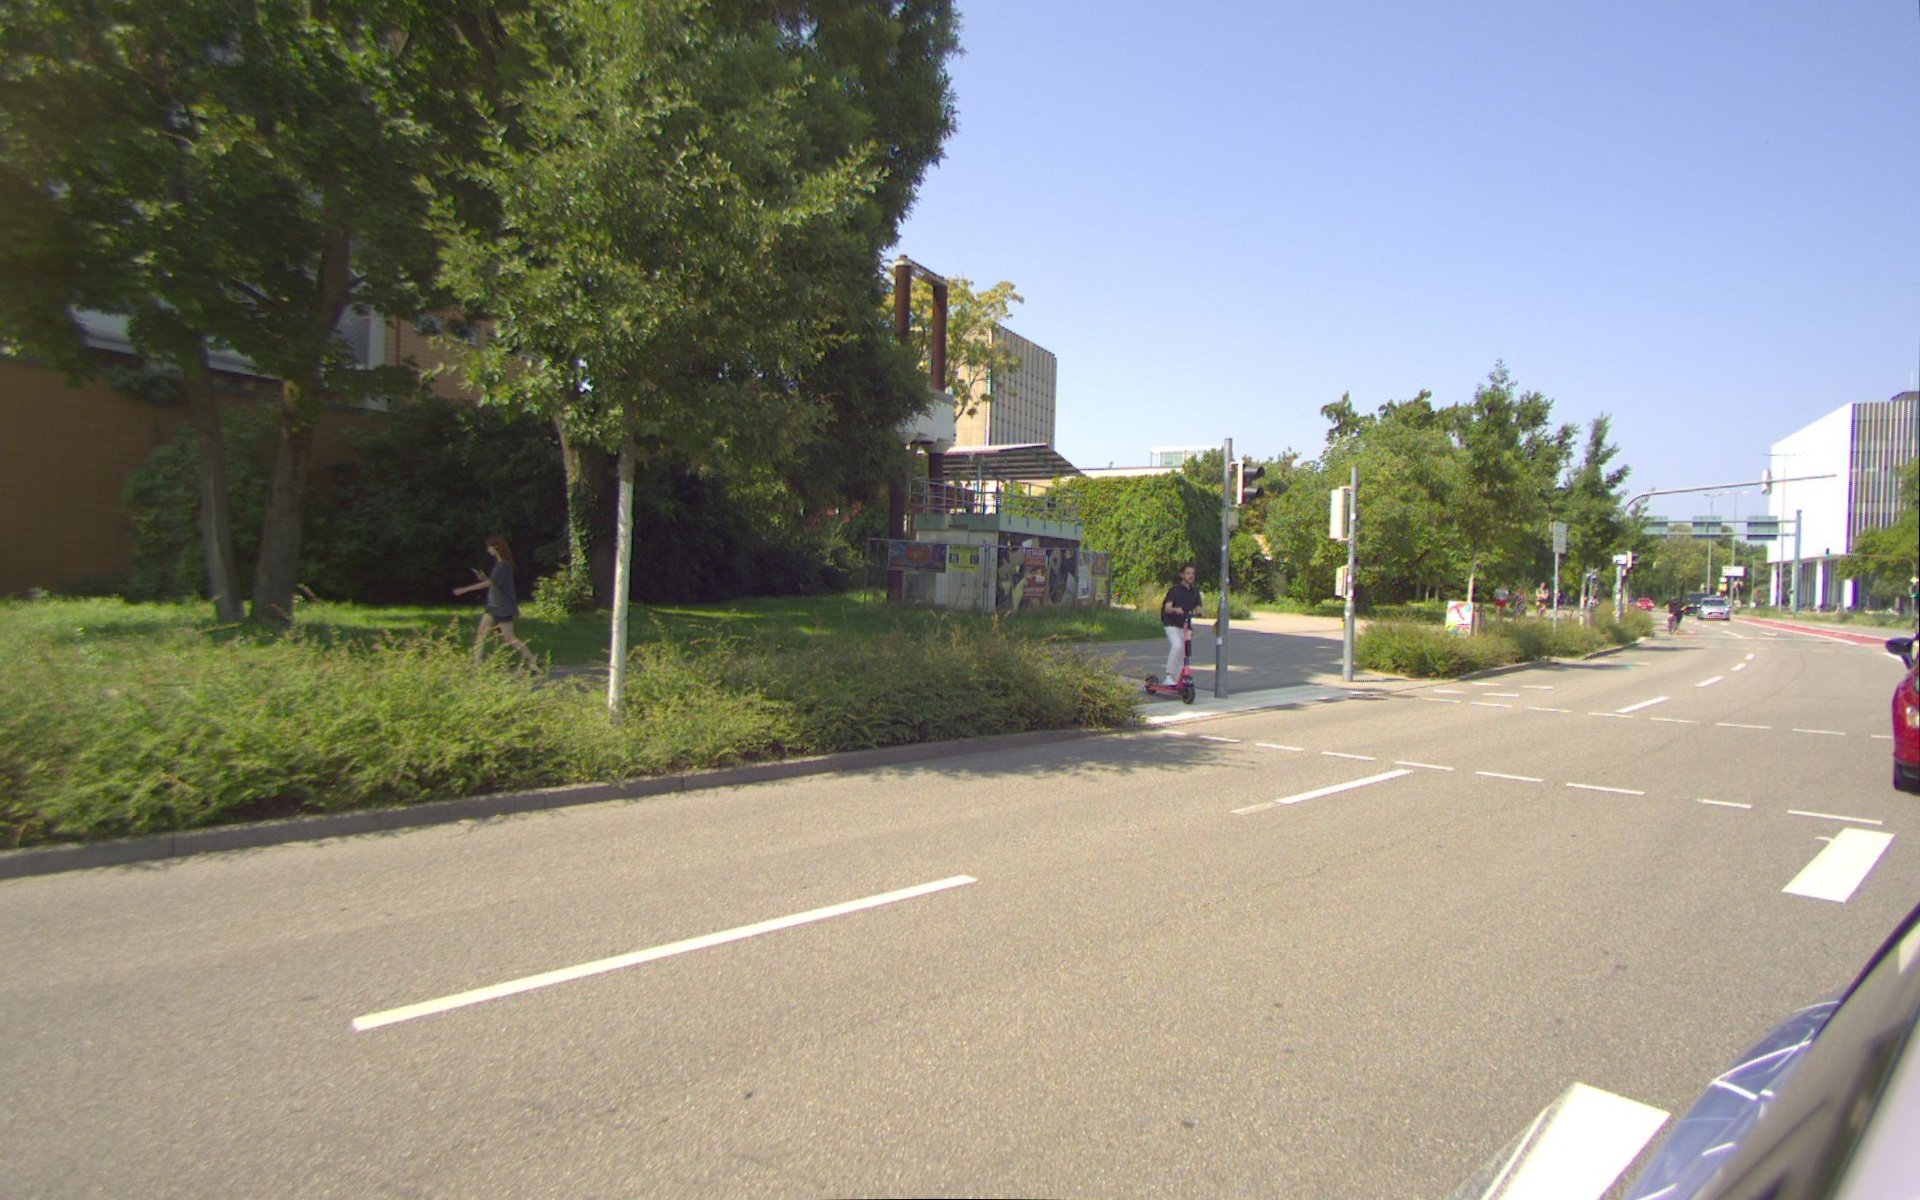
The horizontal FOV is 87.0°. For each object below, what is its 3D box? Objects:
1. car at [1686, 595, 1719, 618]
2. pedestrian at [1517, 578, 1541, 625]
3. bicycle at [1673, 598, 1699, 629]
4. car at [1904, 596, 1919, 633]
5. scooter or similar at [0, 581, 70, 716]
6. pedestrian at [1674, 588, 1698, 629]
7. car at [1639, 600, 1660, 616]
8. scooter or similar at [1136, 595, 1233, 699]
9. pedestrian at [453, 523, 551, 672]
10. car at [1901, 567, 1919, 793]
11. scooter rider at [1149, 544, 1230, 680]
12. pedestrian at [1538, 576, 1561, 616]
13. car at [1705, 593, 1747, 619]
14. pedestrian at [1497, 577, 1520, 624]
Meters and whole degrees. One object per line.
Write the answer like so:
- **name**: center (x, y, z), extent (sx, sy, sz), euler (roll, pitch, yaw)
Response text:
- **car**: center (62.161, 0.552, 84.792), extent (1.986, 1.801, 3.952), euler (2, 1, 33)
- **pedestrian**: center (22.196, 0.037, 39.472), extent (0.689, 1.793, 0.580), euler (2, 1, 35)
- **bicycle**: center (30.361, 0.551, 42.348), extent (0.781, 1.227, 1.767), euler (2, 1, 34)
- **car**: center (36.798, 0.558, 37.719), extent (1.779, 1.374, 3.384), euler (0, 1, 33)
- **scooter or similar**: center (-8.489, 0.373, 8.102), extent (1.966, 1.073, 0.558), euler (2, 2, -36)
- **pedestrian**: center (30.345, 0.339, 42.308), extent (0.775, 1.690, 0.542), euler (2, 1, 35)
- **car**: center (81.306, 0.880, 119.379), extent (1.986, 1.801, 3.952), euler (2, 1, 33)
- **scooter or similar**: center (2.983, 0.599, 13.578), extent (0.573, 1.249, 1.371), euler (1, 3, -20)
- **pedestrian**: center (-5.575, -0.048, 12.315), extent (0.864, 1.725, 0.706), euler (1, 3, -43)
- **car**: center (8.888, 0.586, 8.188), extent (1.839, 1.635, 3.937), euler (1, 1, 43)
- **scooter rider**: center (3.059, 0.144, 13.544), extent (0.674, 1.761, 0.807), euler (1, 2, -20)
- **pedestrian**: center (26.805, -0.176, 45.992), extent (0.788, 1.790, 0.816), euler (2, 1, 34)
- **car**: center (53.416, 0.393, 70.634), extent (1.986, 1.699, 3.952), euler (2, 1, 33)
- **pedestrian**: center (21.569, 0.009, 39.816), extent (0.689, 1.793, 0.580), euler (2, 1, 35)
